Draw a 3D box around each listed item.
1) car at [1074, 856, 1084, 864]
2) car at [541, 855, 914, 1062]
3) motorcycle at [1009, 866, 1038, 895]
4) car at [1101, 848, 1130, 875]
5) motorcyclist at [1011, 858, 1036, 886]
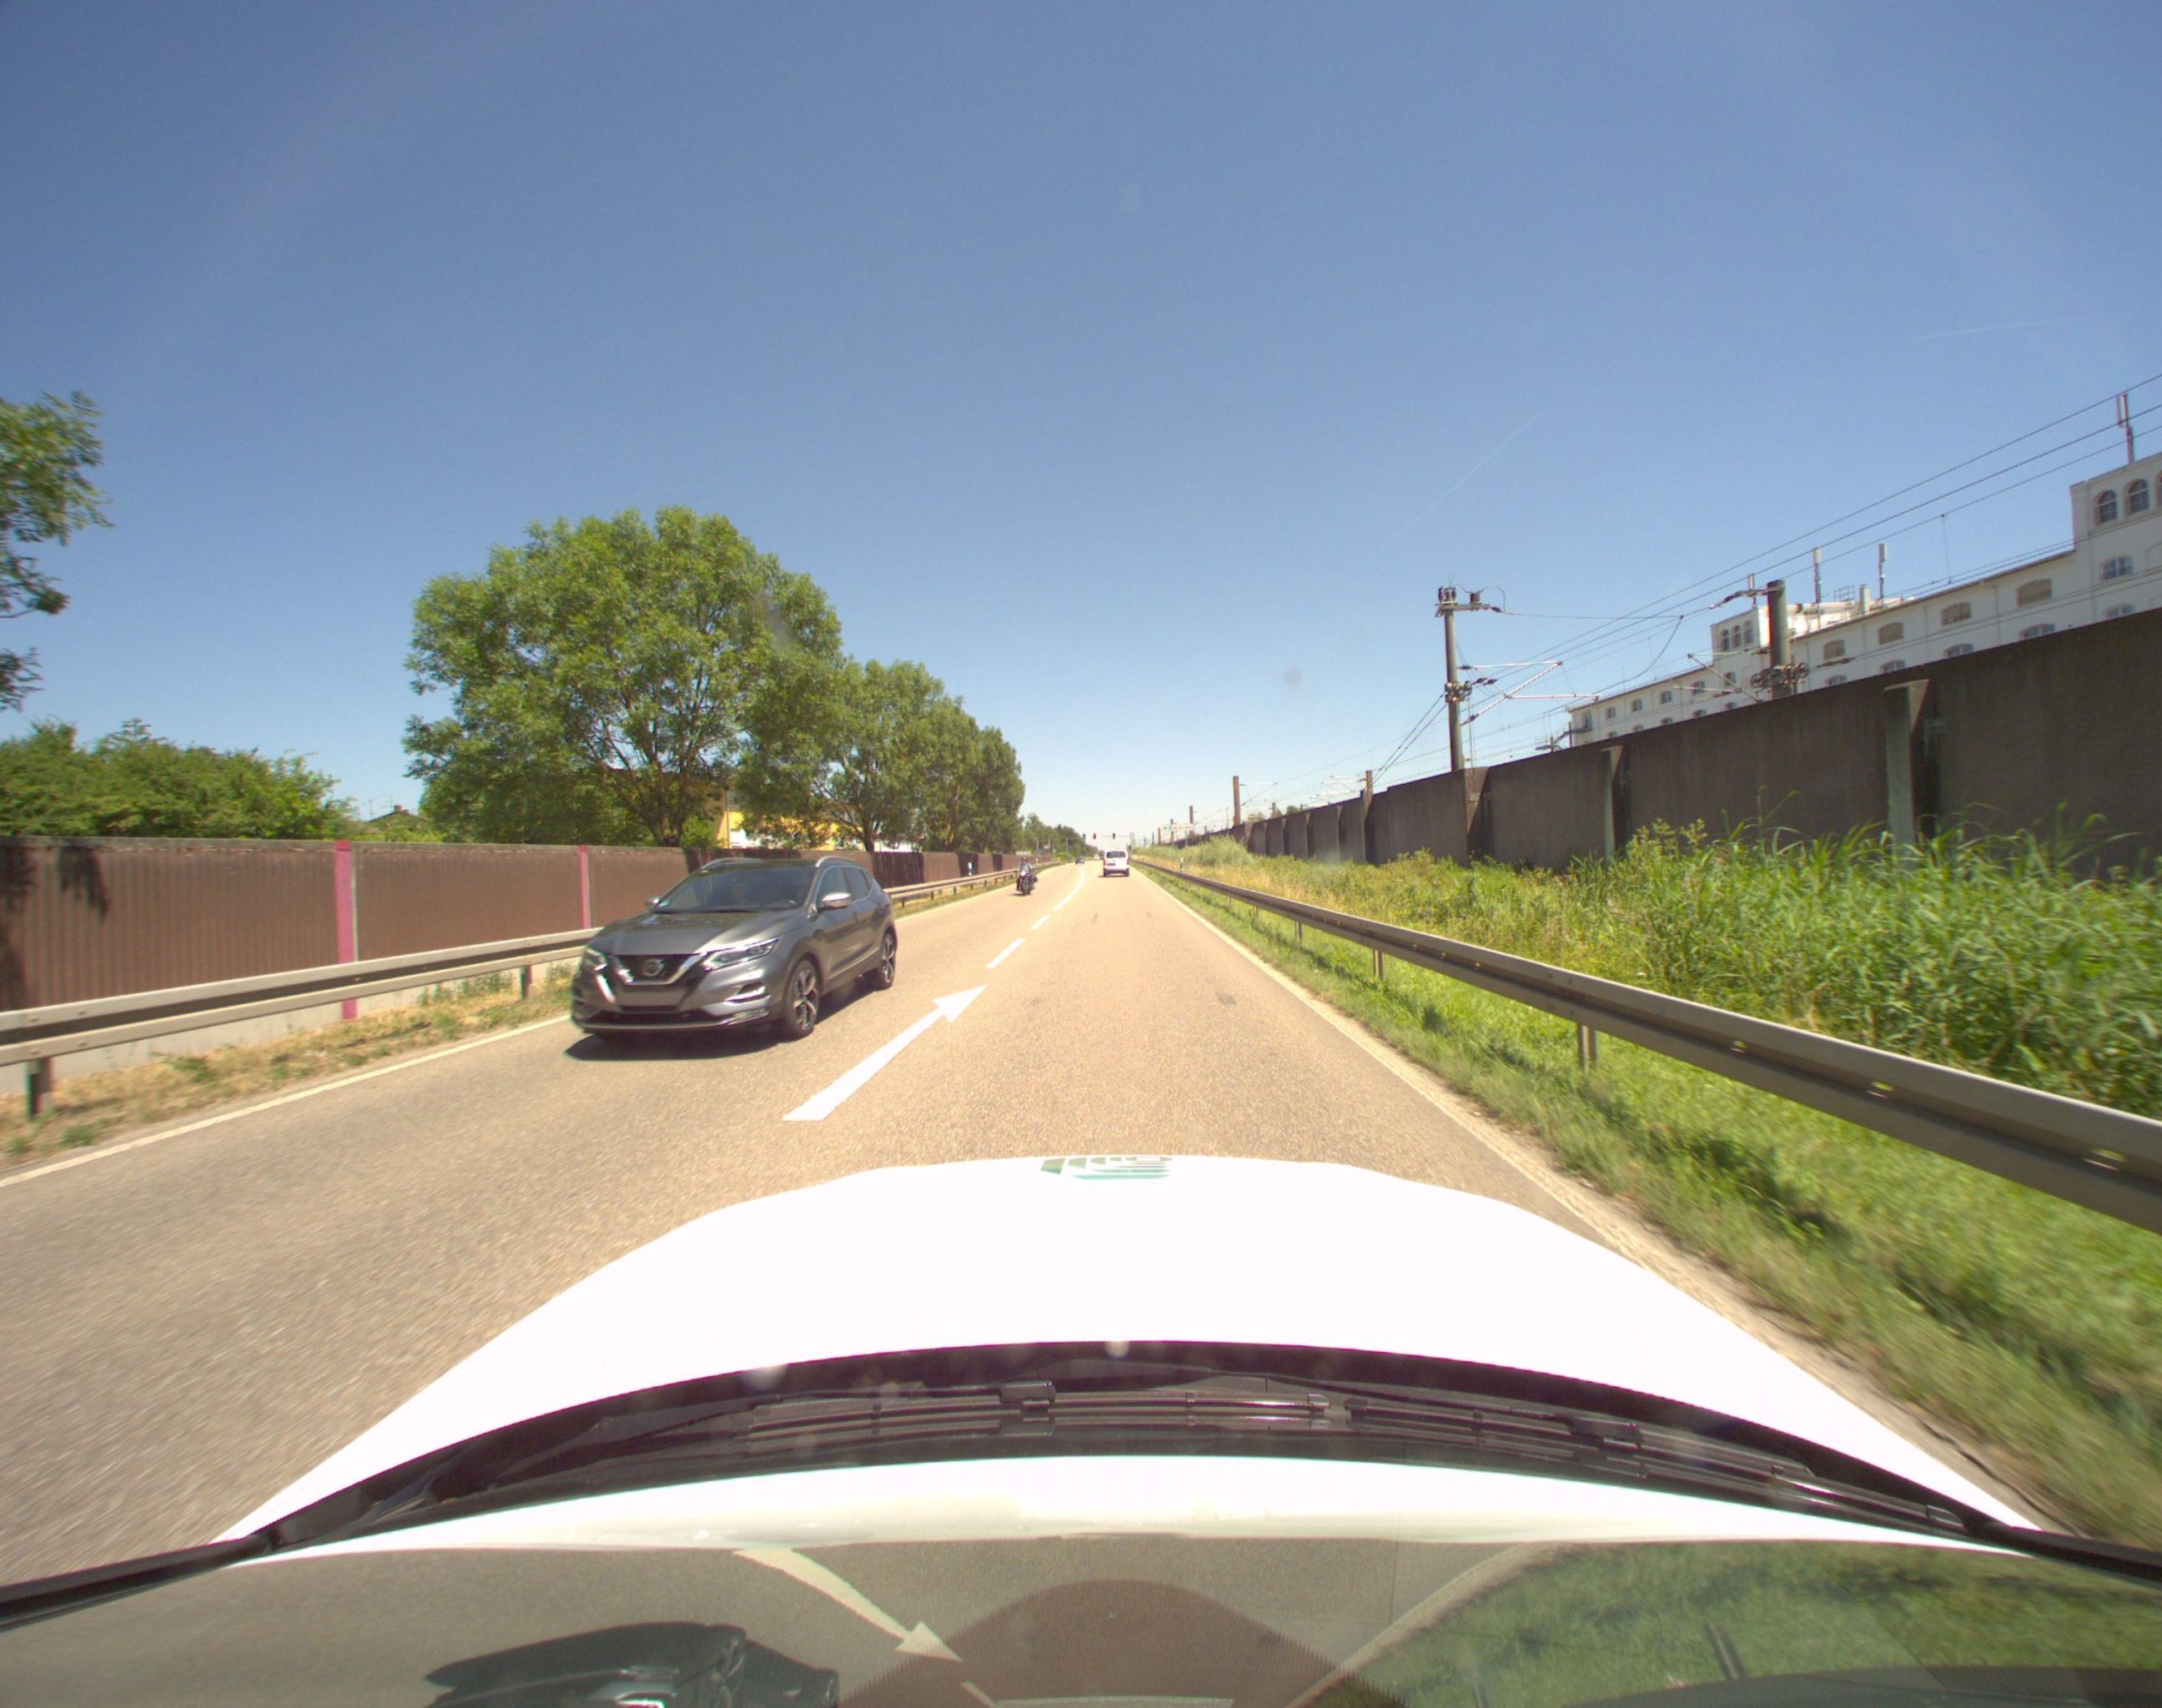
[{"bbox_3d":[-0.376,1.121,160.127,1.813,1.596,4.001,0,0,1],"label":"car"},{"bbox_3d":[-3.141,0.797,8.393,1.783,1.525,4.392,-1,0,2],"label":"car"},{"bbox_3d":[-2.348,1.073,33.514,0.950,1.108,2.336,0,0,1],"label":"motorcycle"},{"bbox_3d":[2.478,0.525,58.724,1.986,1.850,4.002,0,0,2],"label":"car"},{"bbox_3d":[-2.358,0.725,33.482,0.934,1.130,0.928,1,0,1],"label":"motorcyclist"}]
